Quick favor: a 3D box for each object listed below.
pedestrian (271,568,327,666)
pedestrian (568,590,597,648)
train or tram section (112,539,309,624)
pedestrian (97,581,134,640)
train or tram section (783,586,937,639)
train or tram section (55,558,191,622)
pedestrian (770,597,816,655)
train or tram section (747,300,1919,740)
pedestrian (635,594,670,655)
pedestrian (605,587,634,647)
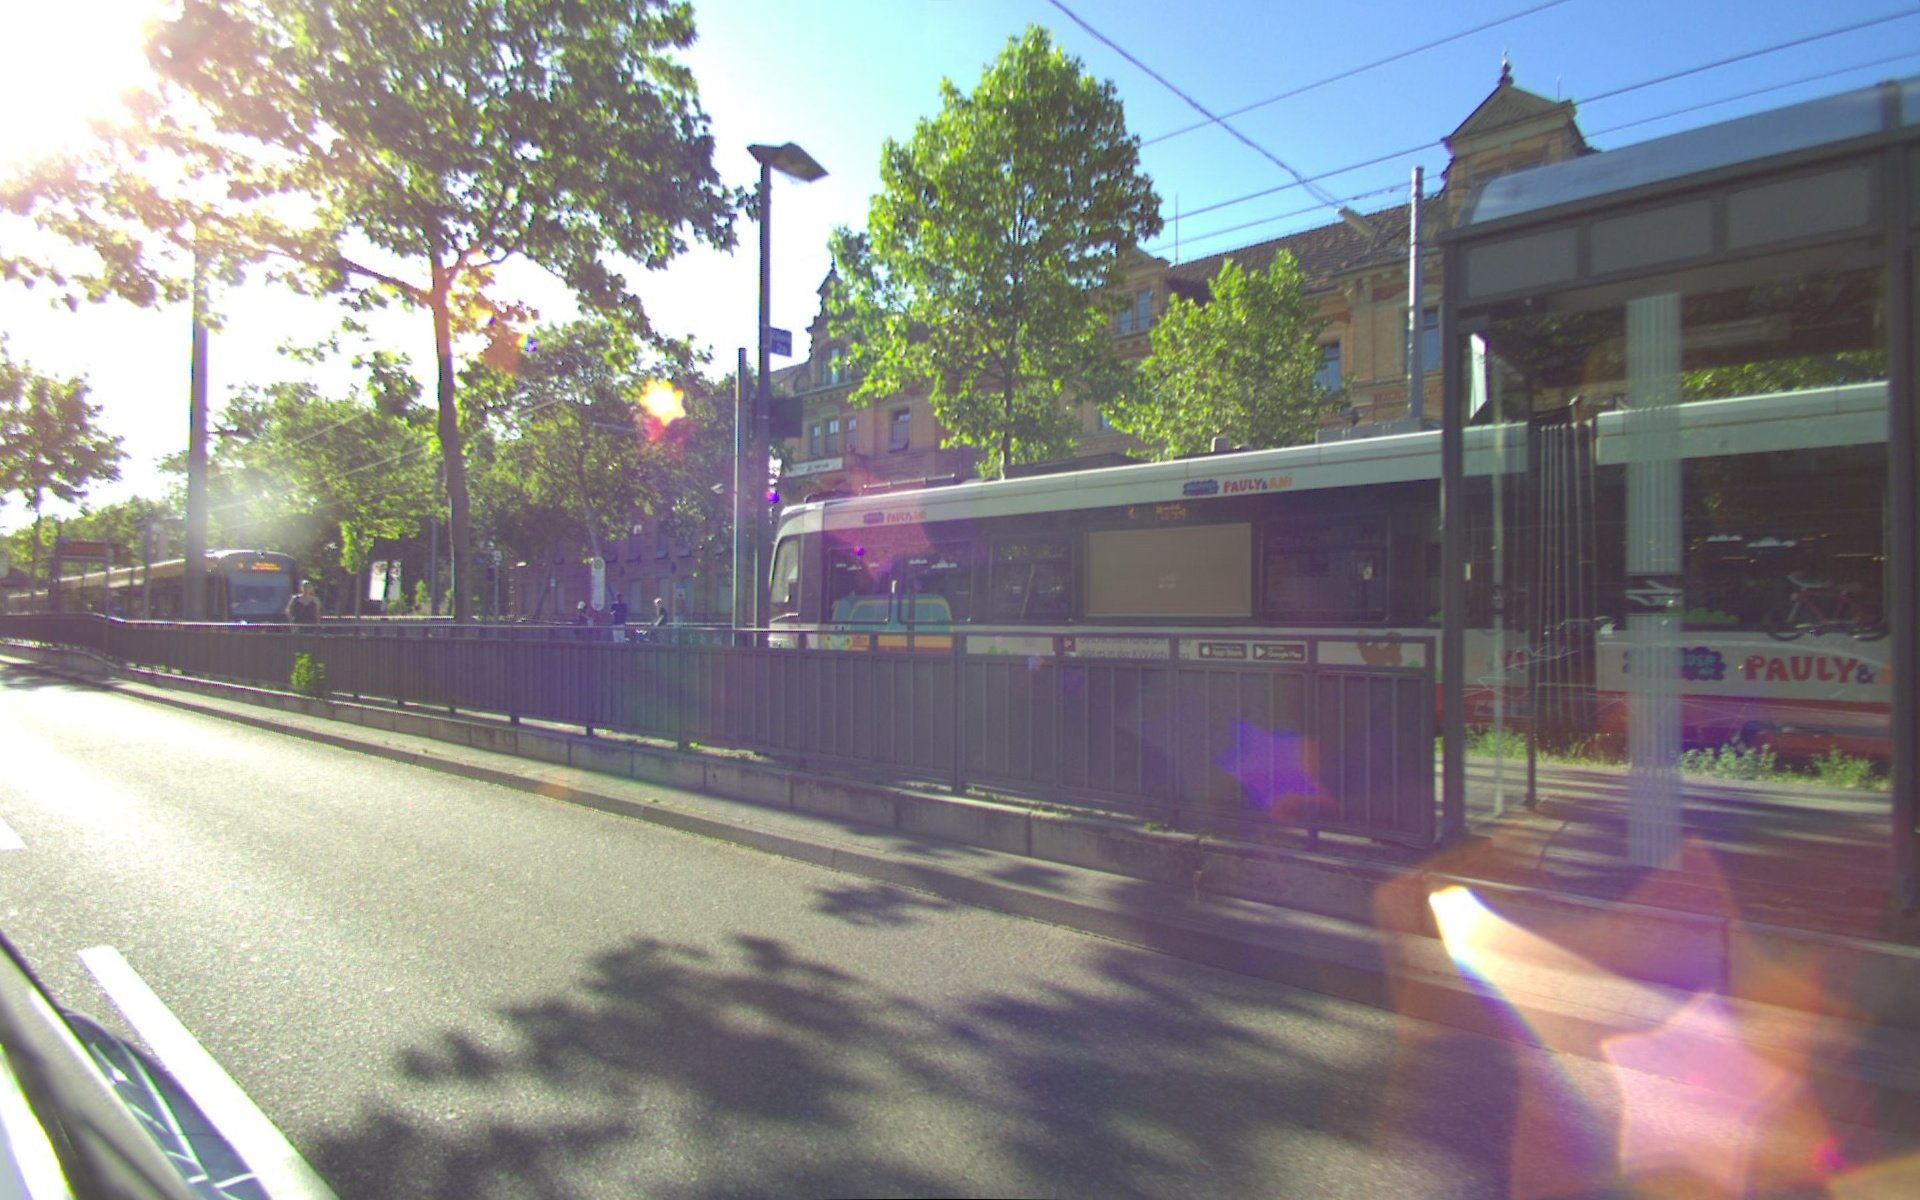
[{"bbox_3d":[-11.833,0.301,18.128,0.624,1.723,0.674,-1,-2,40],"label":"pedestrian"},{"bbox_3d":[-12.059,0.607,32.343,0.616,1.815,0.624,1,-3,-2],"label":"pedestrian"},{"bbox_3d":[-27.539,-0.460,36.625,15.668,2.584,2.535,-1,-1,42],"label":"train or tram section"},{"bbox_3d":[-24.266,0.307,29.075,0.761,1.648,0.691,-1,-2,41],"label":"pedestrian"},{"bbox_3d":[-4.923,0.595,48.470,8.075,2.345,2.616,-1,-1,42],"label":"train or tram section"},{"bbox_3d":[-39.005,-0.308,46.820,15.067,2.551,2.535,-1,-1,42],"label":"train or tram section"},{"bbox_3d":[-4.284,0.669,25.958,0.878,1.472,0.719,-1,-3,37],"label":"pedestrian"},{"bbox_3d":[3.975,-0.562,13.031,18.269,3.460,2.841,-1,0,42],"label":"train or tram section"},{"bbox_3d":[-9.140,0.725,30.076,0.812,1.770,0.668,-1,-1,39],"label":"pedestrian"},{"bbox_3d":[-10.480,0.527,31.161,0.617,1.815,0.624,1,-3,0],"label":"pedestrian"}]
